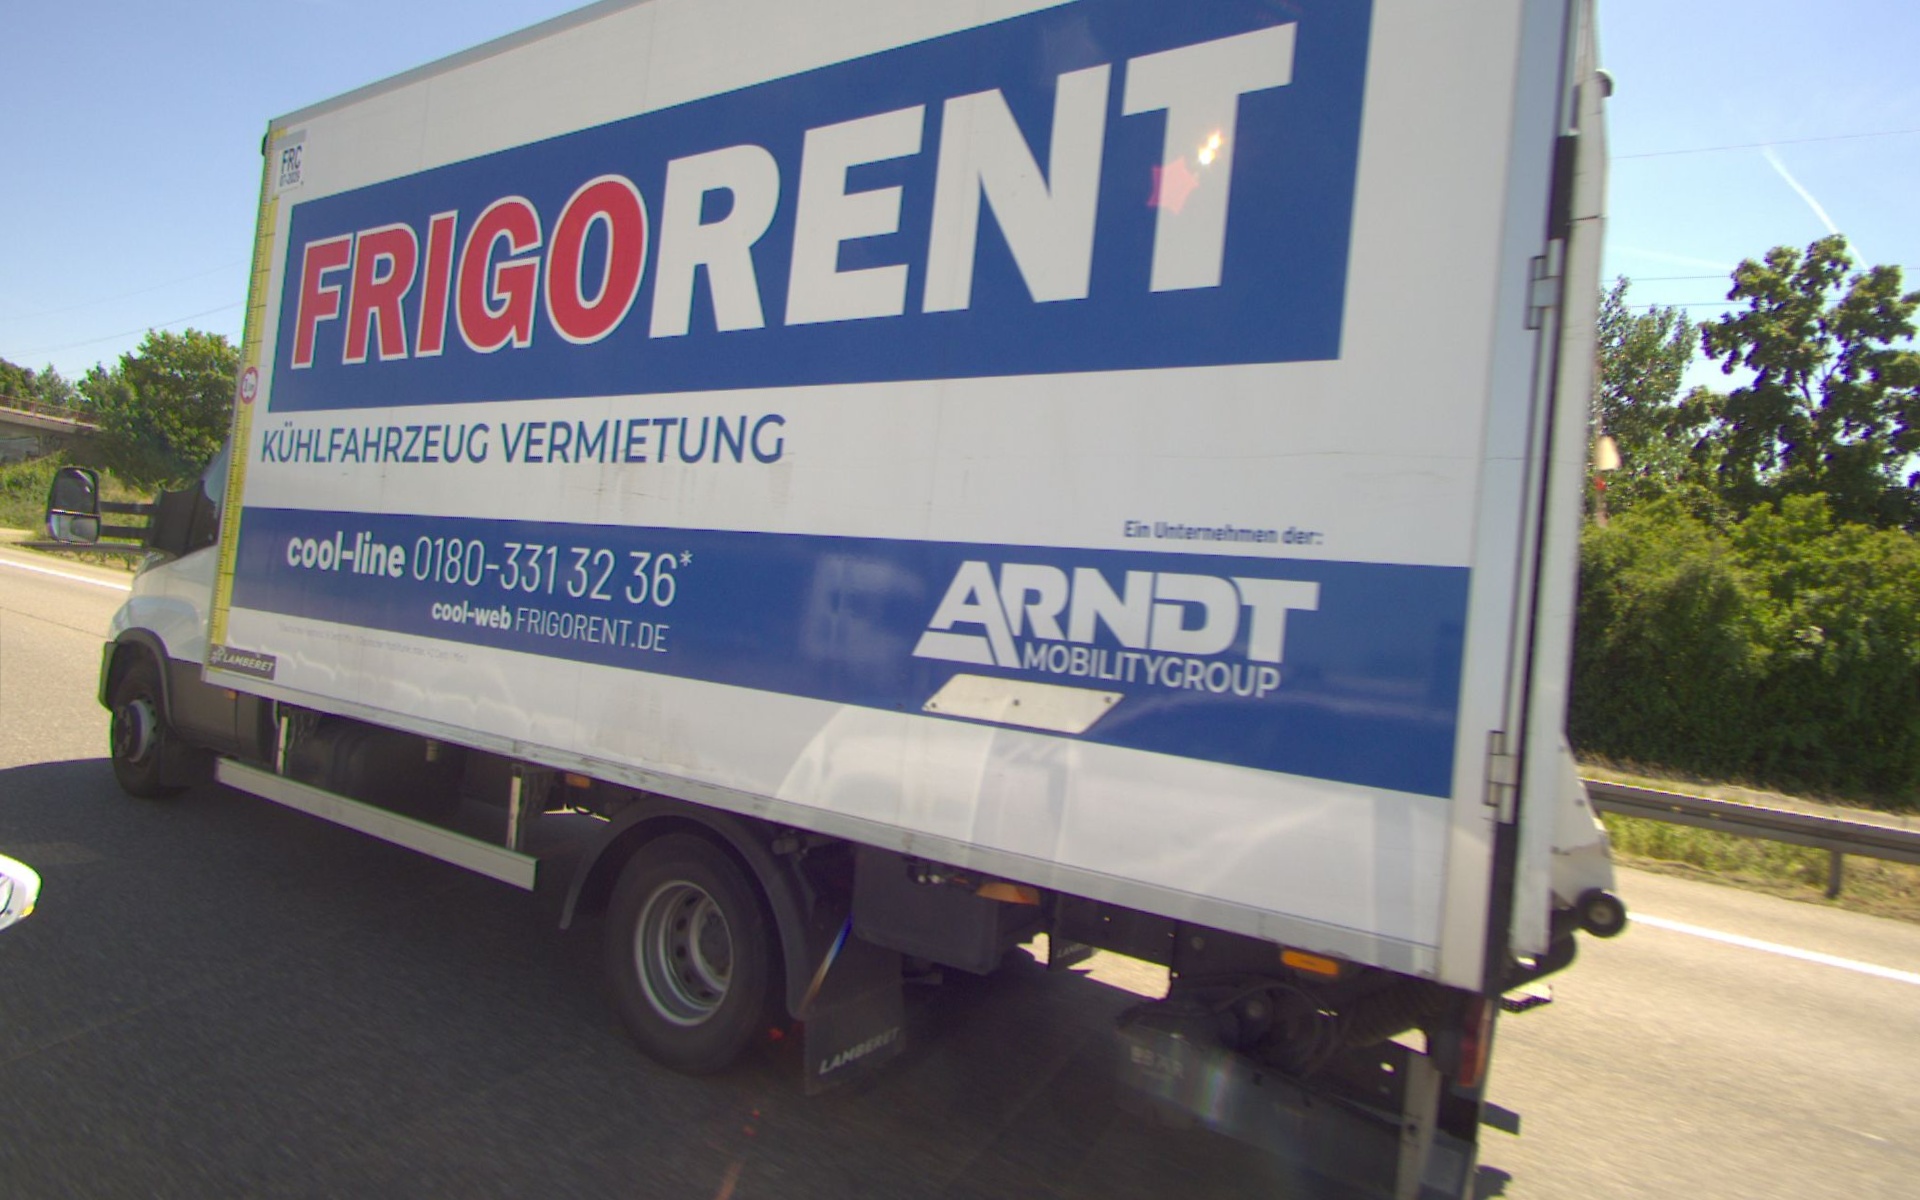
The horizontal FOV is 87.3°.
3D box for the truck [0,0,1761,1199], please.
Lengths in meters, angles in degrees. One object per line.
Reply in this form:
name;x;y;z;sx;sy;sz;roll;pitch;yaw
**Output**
truck;-1.560;-0.316;4.844;7.991;3.413;2.787;6;-1;31
